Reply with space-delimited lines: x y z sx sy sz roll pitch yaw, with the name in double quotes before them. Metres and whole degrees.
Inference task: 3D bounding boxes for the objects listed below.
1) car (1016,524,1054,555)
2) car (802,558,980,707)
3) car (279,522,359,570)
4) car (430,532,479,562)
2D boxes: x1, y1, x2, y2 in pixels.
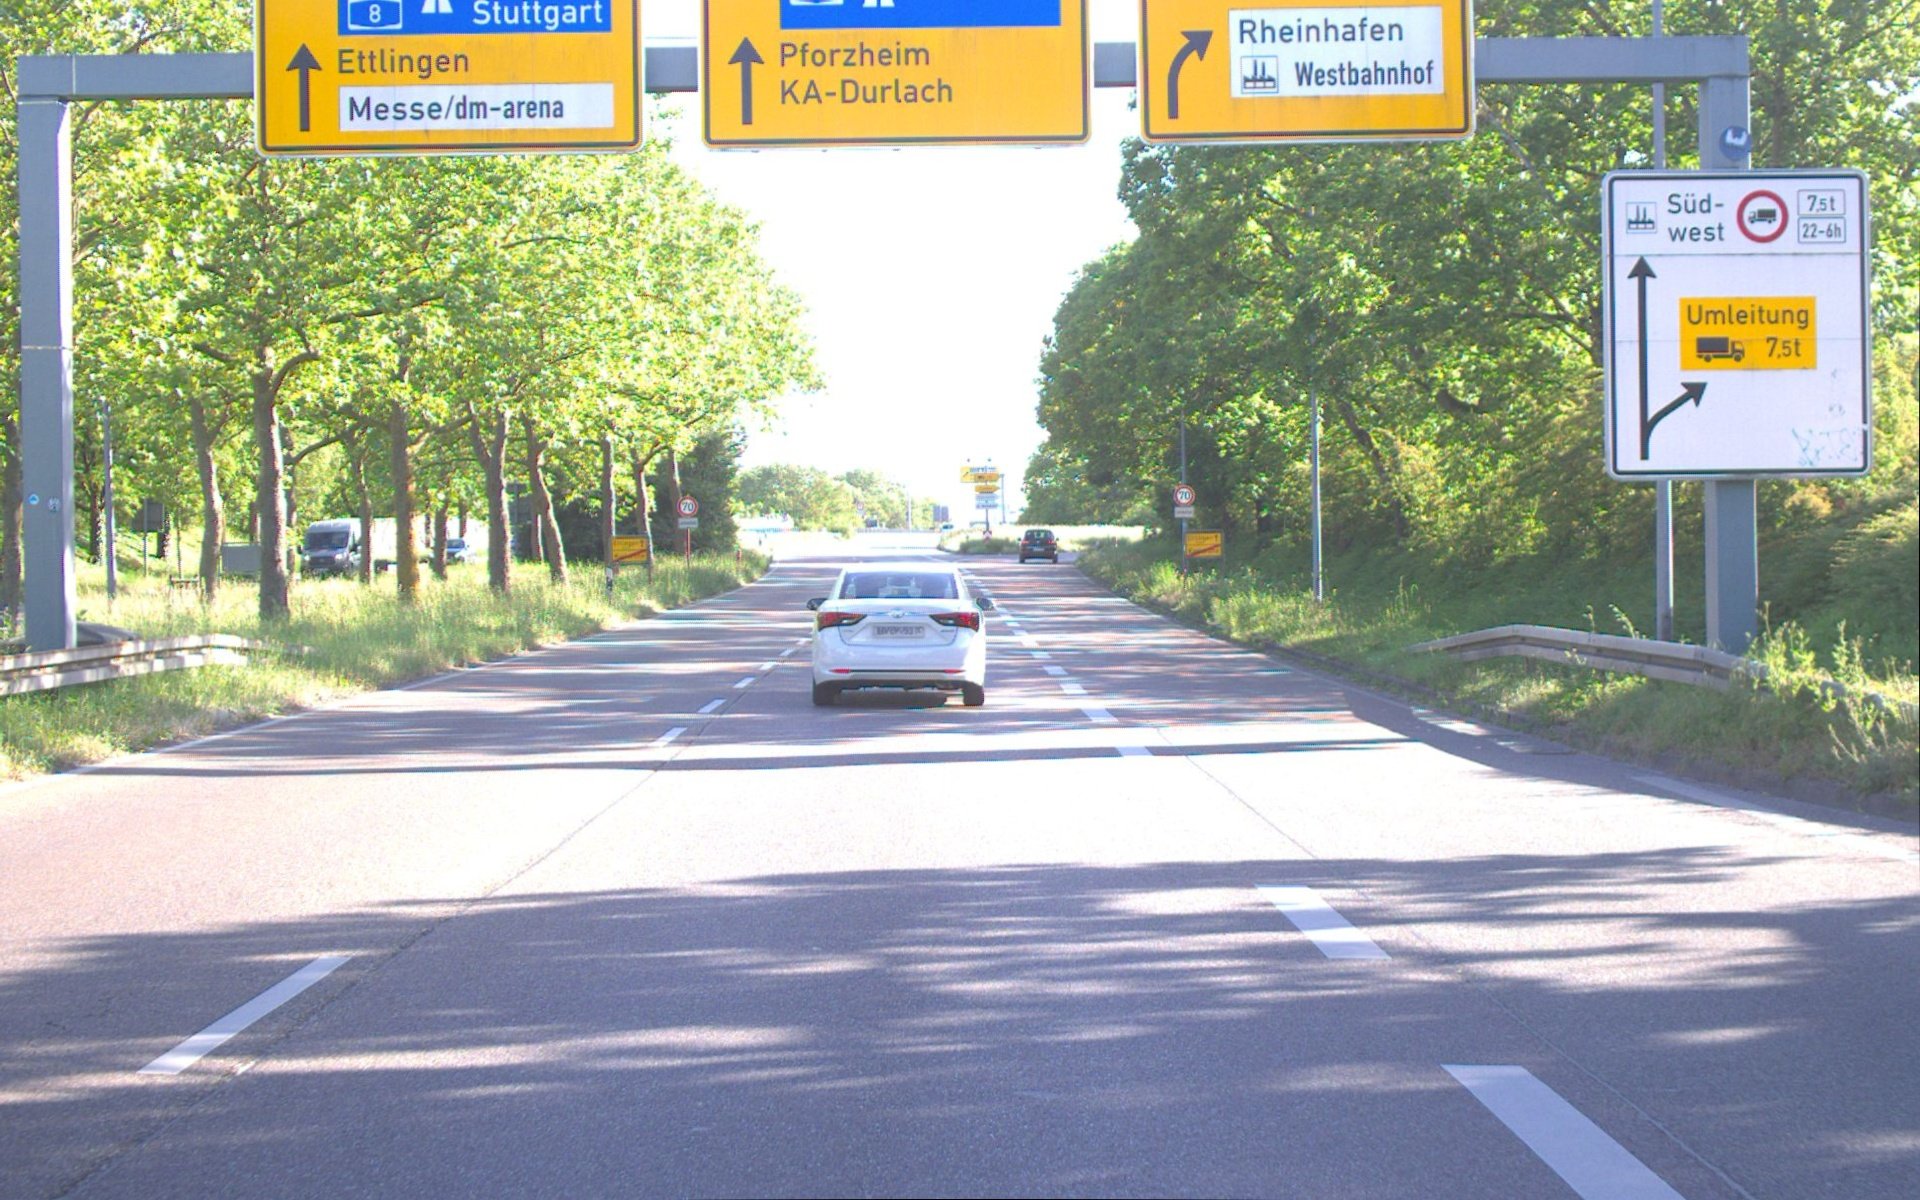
"car" 3.571 -2.886 164.133 1.767 1.459 4.366 0 1 1
"car" -0.685 0.297 36.571 1.767 1.459 4.366 0 1 0
"car" -25.707 -2.169 137.988 2.134 1.895 5.742 0 1 0
"car" -24.531 -2.581 166.912 1.767 1.459 4.366 0 1 0
